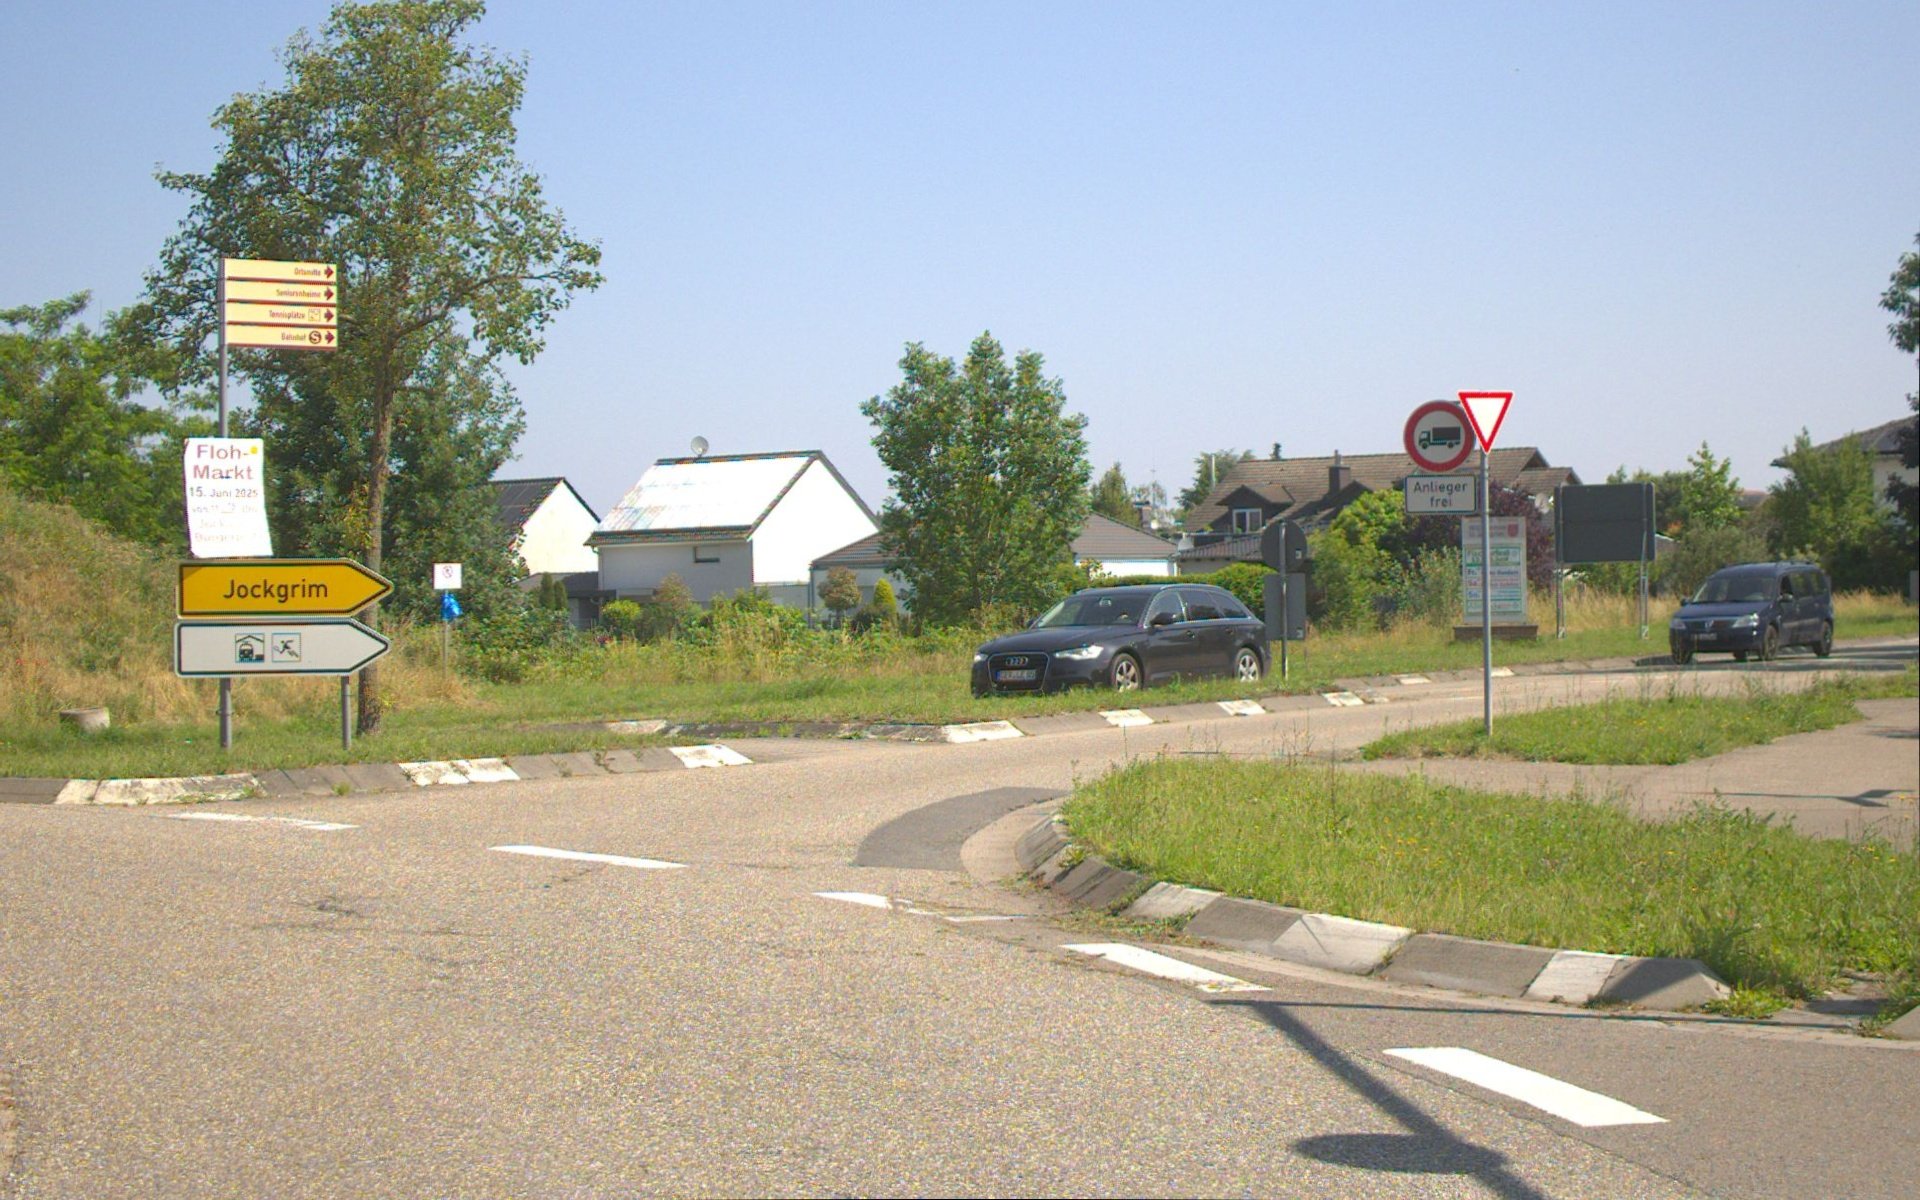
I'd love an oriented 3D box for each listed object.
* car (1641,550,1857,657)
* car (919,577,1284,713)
[{"bbox_3d":[13.452,0.053,58.436,1.813,1.635,4.646,-5,-3,36],"label":"car"},{"bbox_3d":[1.750,0.503,40.589,1.921,1.429,4.903,-4,-2,34],"label":"car"}]
